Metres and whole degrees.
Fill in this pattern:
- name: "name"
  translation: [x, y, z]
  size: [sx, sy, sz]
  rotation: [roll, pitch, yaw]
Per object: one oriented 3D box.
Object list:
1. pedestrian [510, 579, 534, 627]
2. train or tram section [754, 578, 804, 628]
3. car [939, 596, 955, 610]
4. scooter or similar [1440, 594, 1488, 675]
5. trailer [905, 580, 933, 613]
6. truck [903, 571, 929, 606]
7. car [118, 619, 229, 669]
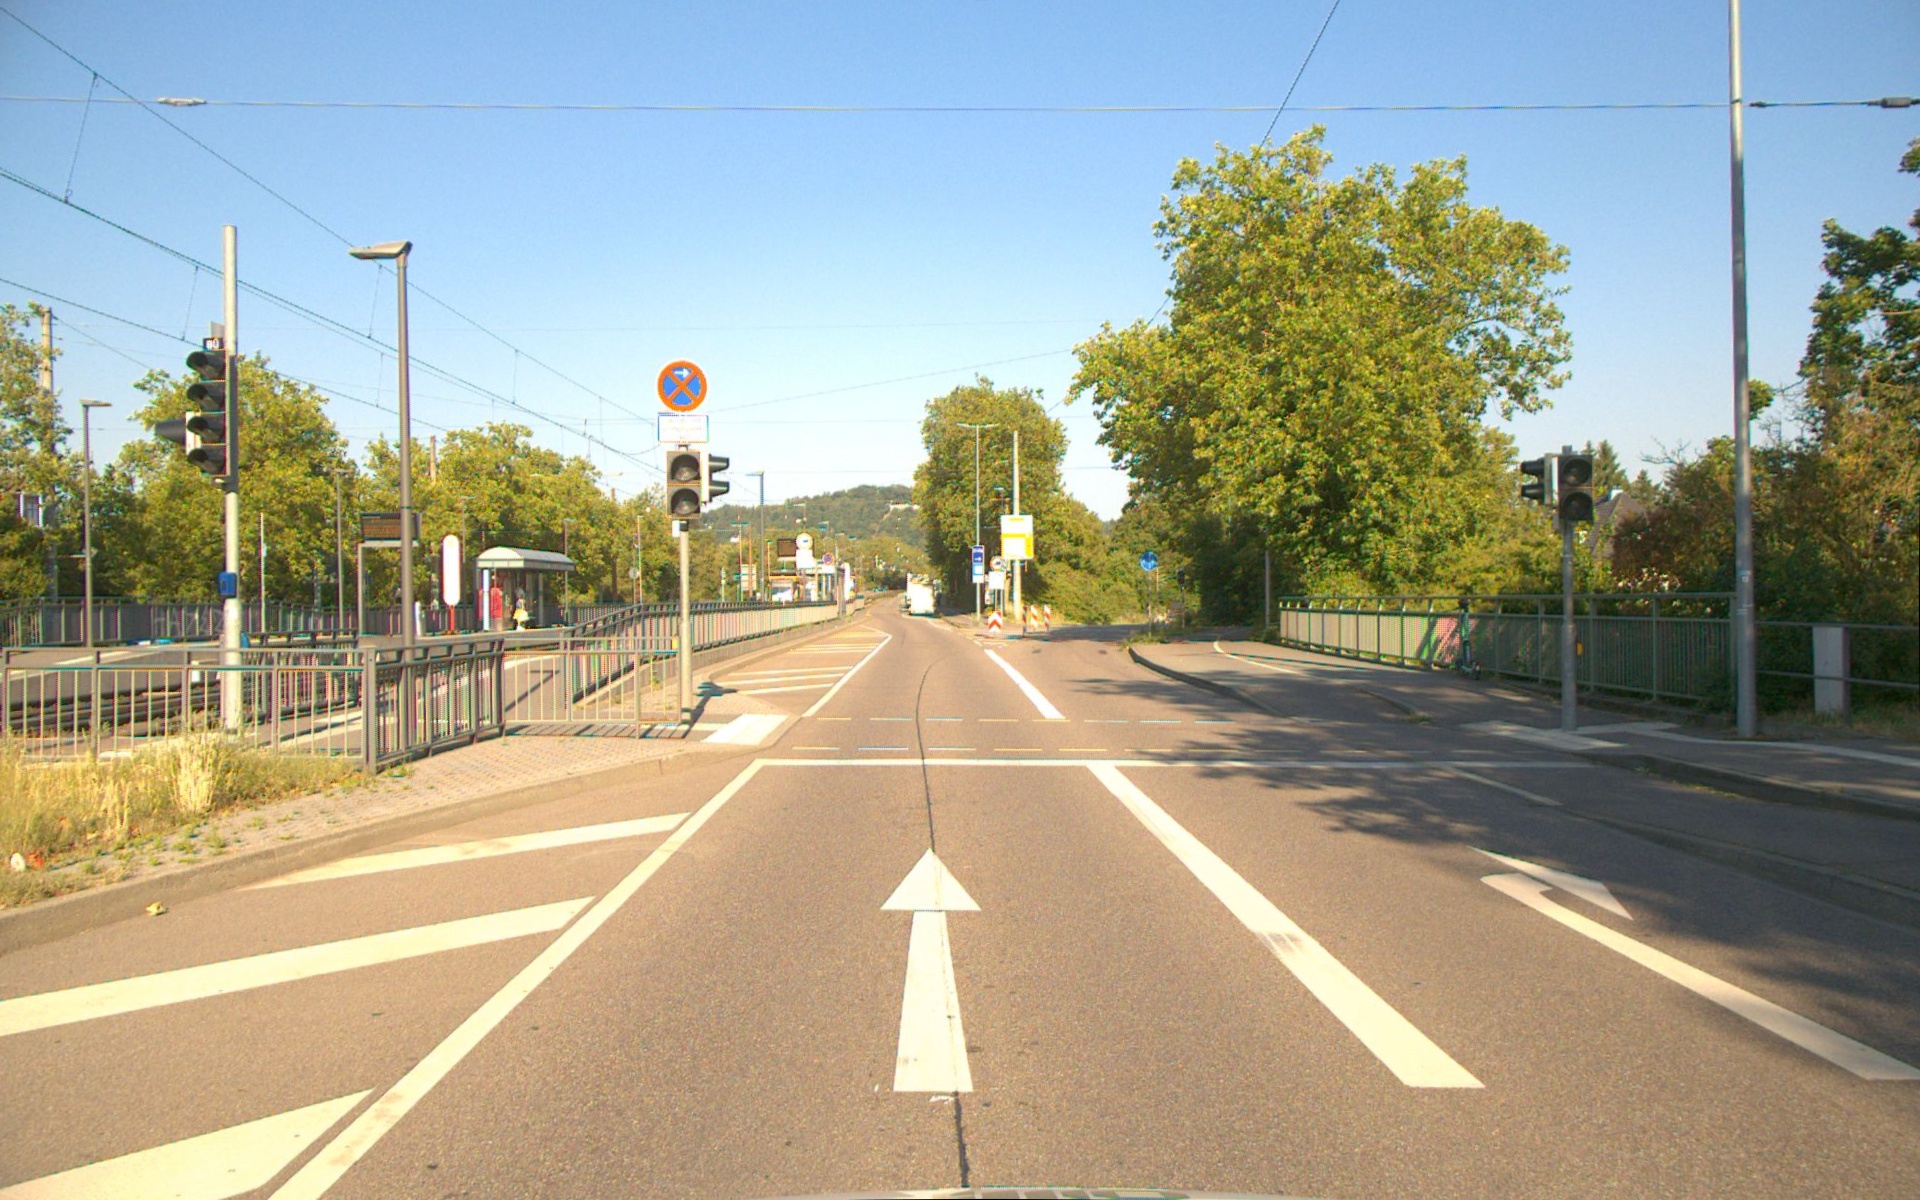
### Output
- name: "pedestrian"
  translation: [-16.419, 0.096, 62.012]
  size: [0.686, 1.787, 0.586]
  rotation: [0, 0, 34]
- name: "train or tram section"
  translation: [-15.361, 0.232, 141.738]
  size: [2.770, 4.076, 15.871]
  rotation: [0, 0, -1]
- name: "car"
  translation: [-1.403, 0.263, 175.616]
  size: [1.619, 1.462, 3.777]
  rotation: [0, 0, -1]
- name: "scooter or similar"
  translation: [8.228, 0.549, 27.009]
  size: [0.418, 1.297, 1.083]
  rotation: [-1, 0, -1]
- name: "trailer"
  translation: [-3.481, -0.332, 141.424]
  size: [2.205, 2.742, 5.948]
  rotation: [0, 0, 1]
- name: "truck"
  translation: [-5.068, -1.363, 189.178]
  size: [2.687, 3.849, 10.085]
  rotation: [1, 0, -2]
- name: "car"
  translation: [-25.231, 1.378, 53.180]
  size: [1.697, 1.471, 3.999]
  rotation: [-1, 0, -1]
